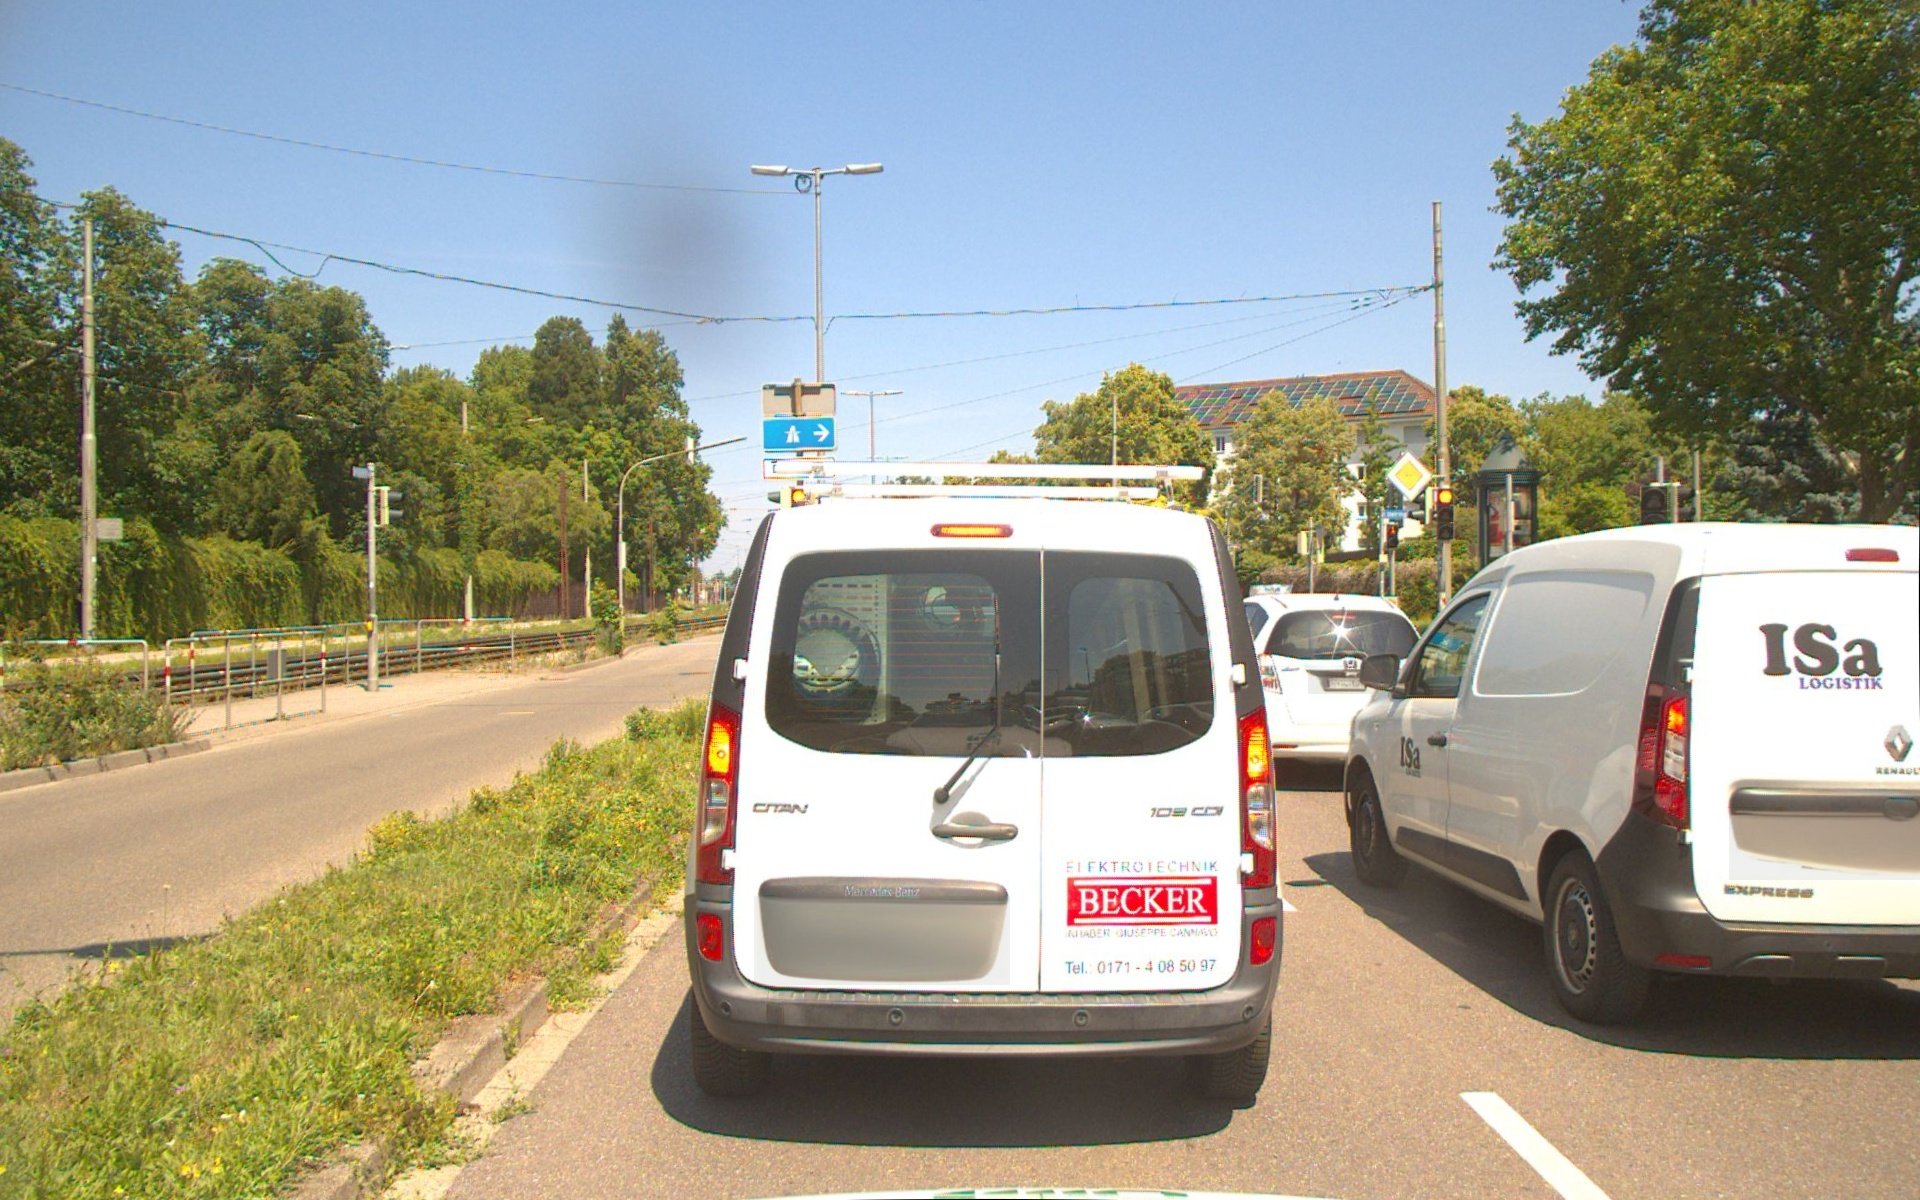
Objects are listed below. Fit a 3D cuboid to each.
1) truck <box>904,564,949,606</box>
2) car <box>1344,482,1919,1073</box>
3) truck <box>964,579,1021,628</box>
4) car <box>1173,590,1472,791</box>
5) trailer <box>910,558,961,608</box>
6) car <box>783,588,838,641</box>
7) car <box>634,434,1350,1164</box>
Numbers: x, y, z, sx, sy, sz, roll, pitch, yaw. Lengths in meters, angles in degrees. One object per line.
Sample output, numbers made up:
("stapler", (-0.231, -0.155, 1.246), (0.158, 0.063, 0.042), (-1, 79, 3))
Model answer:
("truck", (-3.057, -1.318, 148.825), (3.506, 3.696, 8.799), (0, 0, -5))
("car", (3.026, 0.559, 7.245), (1.675, 1.862, 4.012), (0, 0, -1))
("truck", (1.496, 0.132, 73.969), (2.251, 2.049, 6.730), (0, 0, 3))
("car", (3.049, 0.690, 14.707), (1.720, 1.512, 3.999), (1, 0, -1))
("trailer", (-2.140, -1.413, 139.998), (3.460, 4.121, 8.965), (0, 0, -6))
("car", (-6.005, 0.569, 66.630), (1.953, 2.049, 3.999), (0, 0, -2))
("car", (0.042, 0.515, 6.205), (1.829, 1.868, 3.847), (1, 0, -2))
